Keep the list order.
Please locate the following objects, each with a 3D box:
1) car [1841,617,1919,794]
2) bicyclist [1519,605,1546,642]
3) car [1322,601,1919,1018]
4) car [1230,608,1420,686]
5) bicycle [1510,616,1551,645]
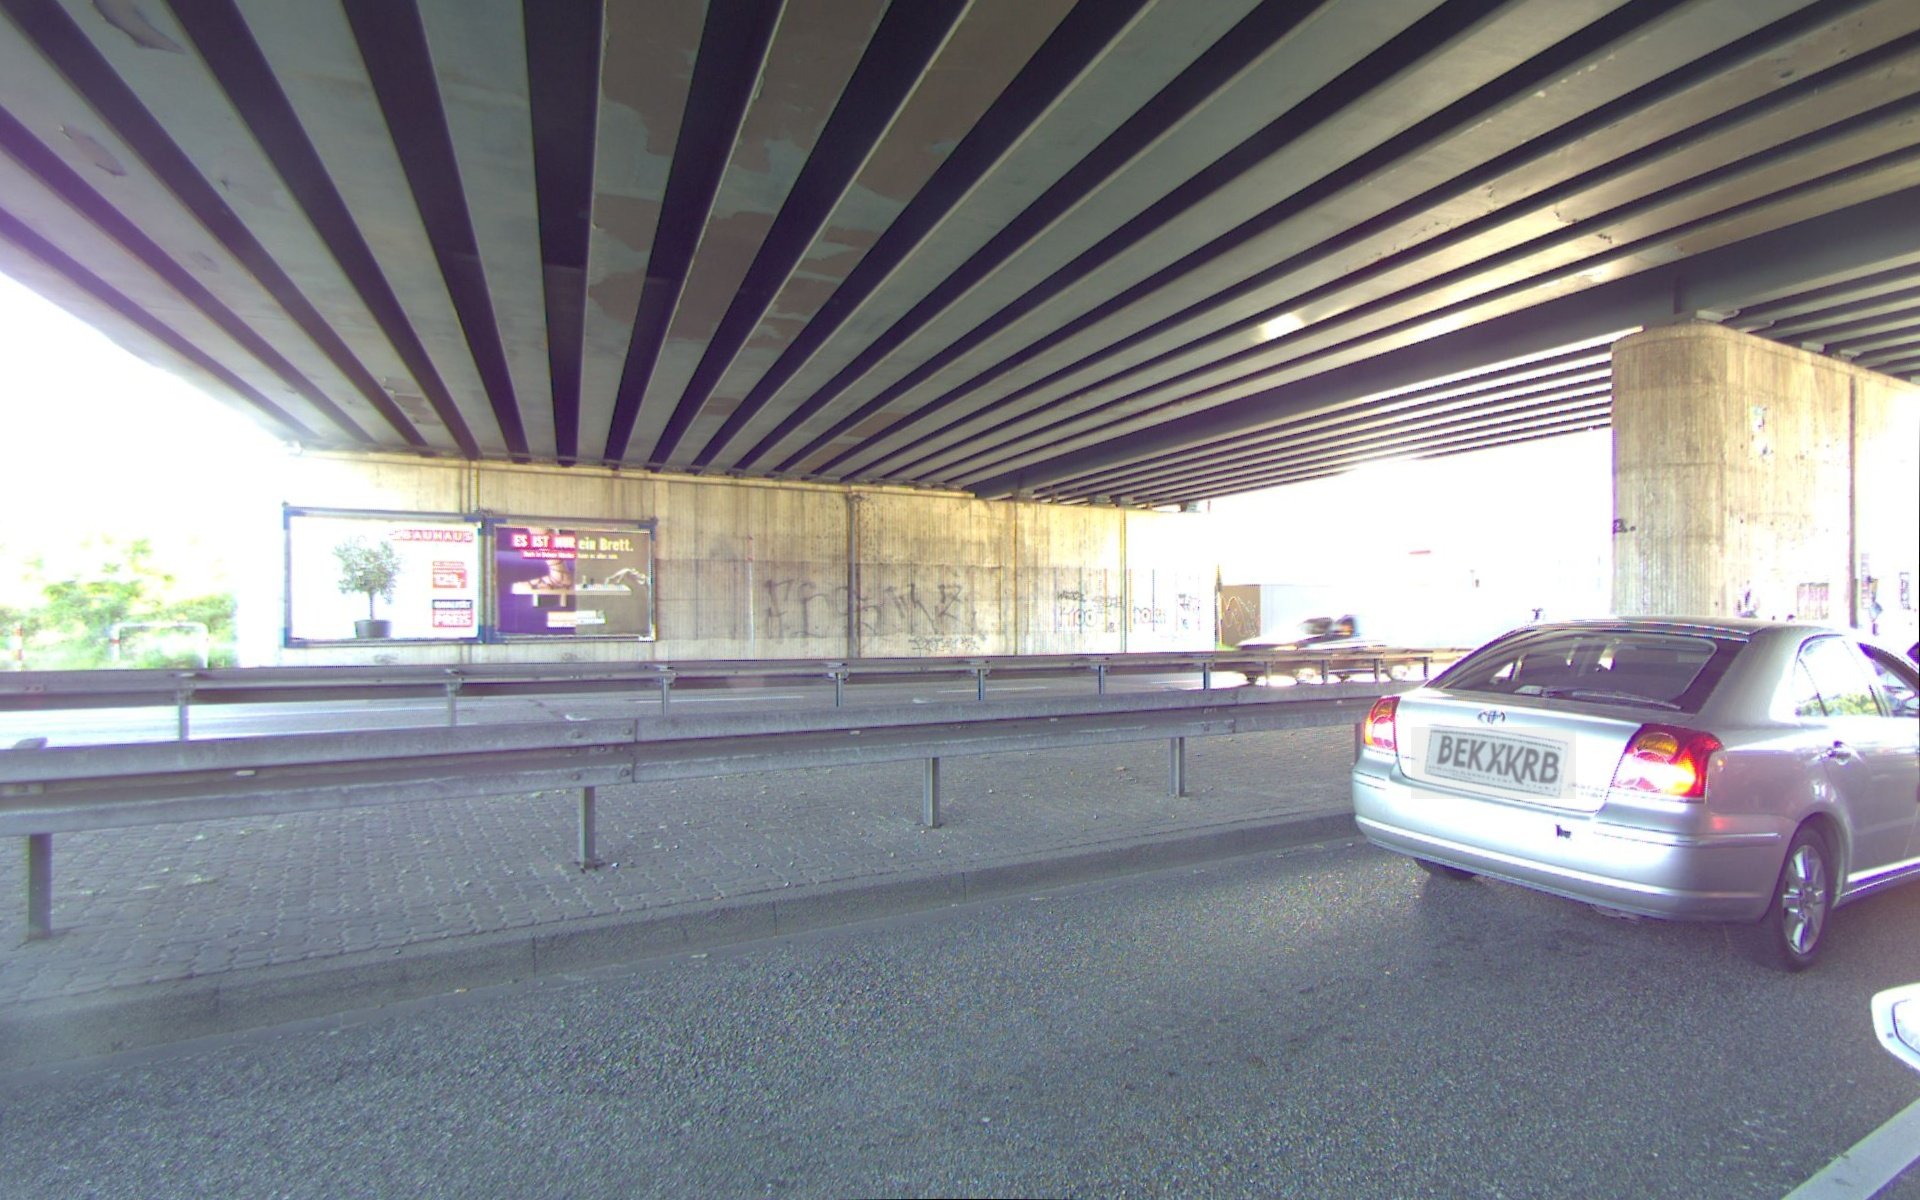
[{"bbox_3d":[9.614,0.900,8.879,3.769,1.429,1.684,1,0,-31],"label":"car"},{"bbox_3d":[24.124,0.980,42.329,0.827,1.545,0.624,2,0,-30],"label":"bicyclist"},{"bbox_3d":[4.119,0.791,5.456,4.347,1.474,1.688,1,0,-31],"label":"car"},{"bbox_3d":[8.421,1.055,23.090,4.315,1.638,1.842,1,-2,-31],"label":"car"},{"bbox_3d":[24.035,1.296,42.281,1.856,1.181,0.631,2,0,-30],"label":"bicycle"}]
